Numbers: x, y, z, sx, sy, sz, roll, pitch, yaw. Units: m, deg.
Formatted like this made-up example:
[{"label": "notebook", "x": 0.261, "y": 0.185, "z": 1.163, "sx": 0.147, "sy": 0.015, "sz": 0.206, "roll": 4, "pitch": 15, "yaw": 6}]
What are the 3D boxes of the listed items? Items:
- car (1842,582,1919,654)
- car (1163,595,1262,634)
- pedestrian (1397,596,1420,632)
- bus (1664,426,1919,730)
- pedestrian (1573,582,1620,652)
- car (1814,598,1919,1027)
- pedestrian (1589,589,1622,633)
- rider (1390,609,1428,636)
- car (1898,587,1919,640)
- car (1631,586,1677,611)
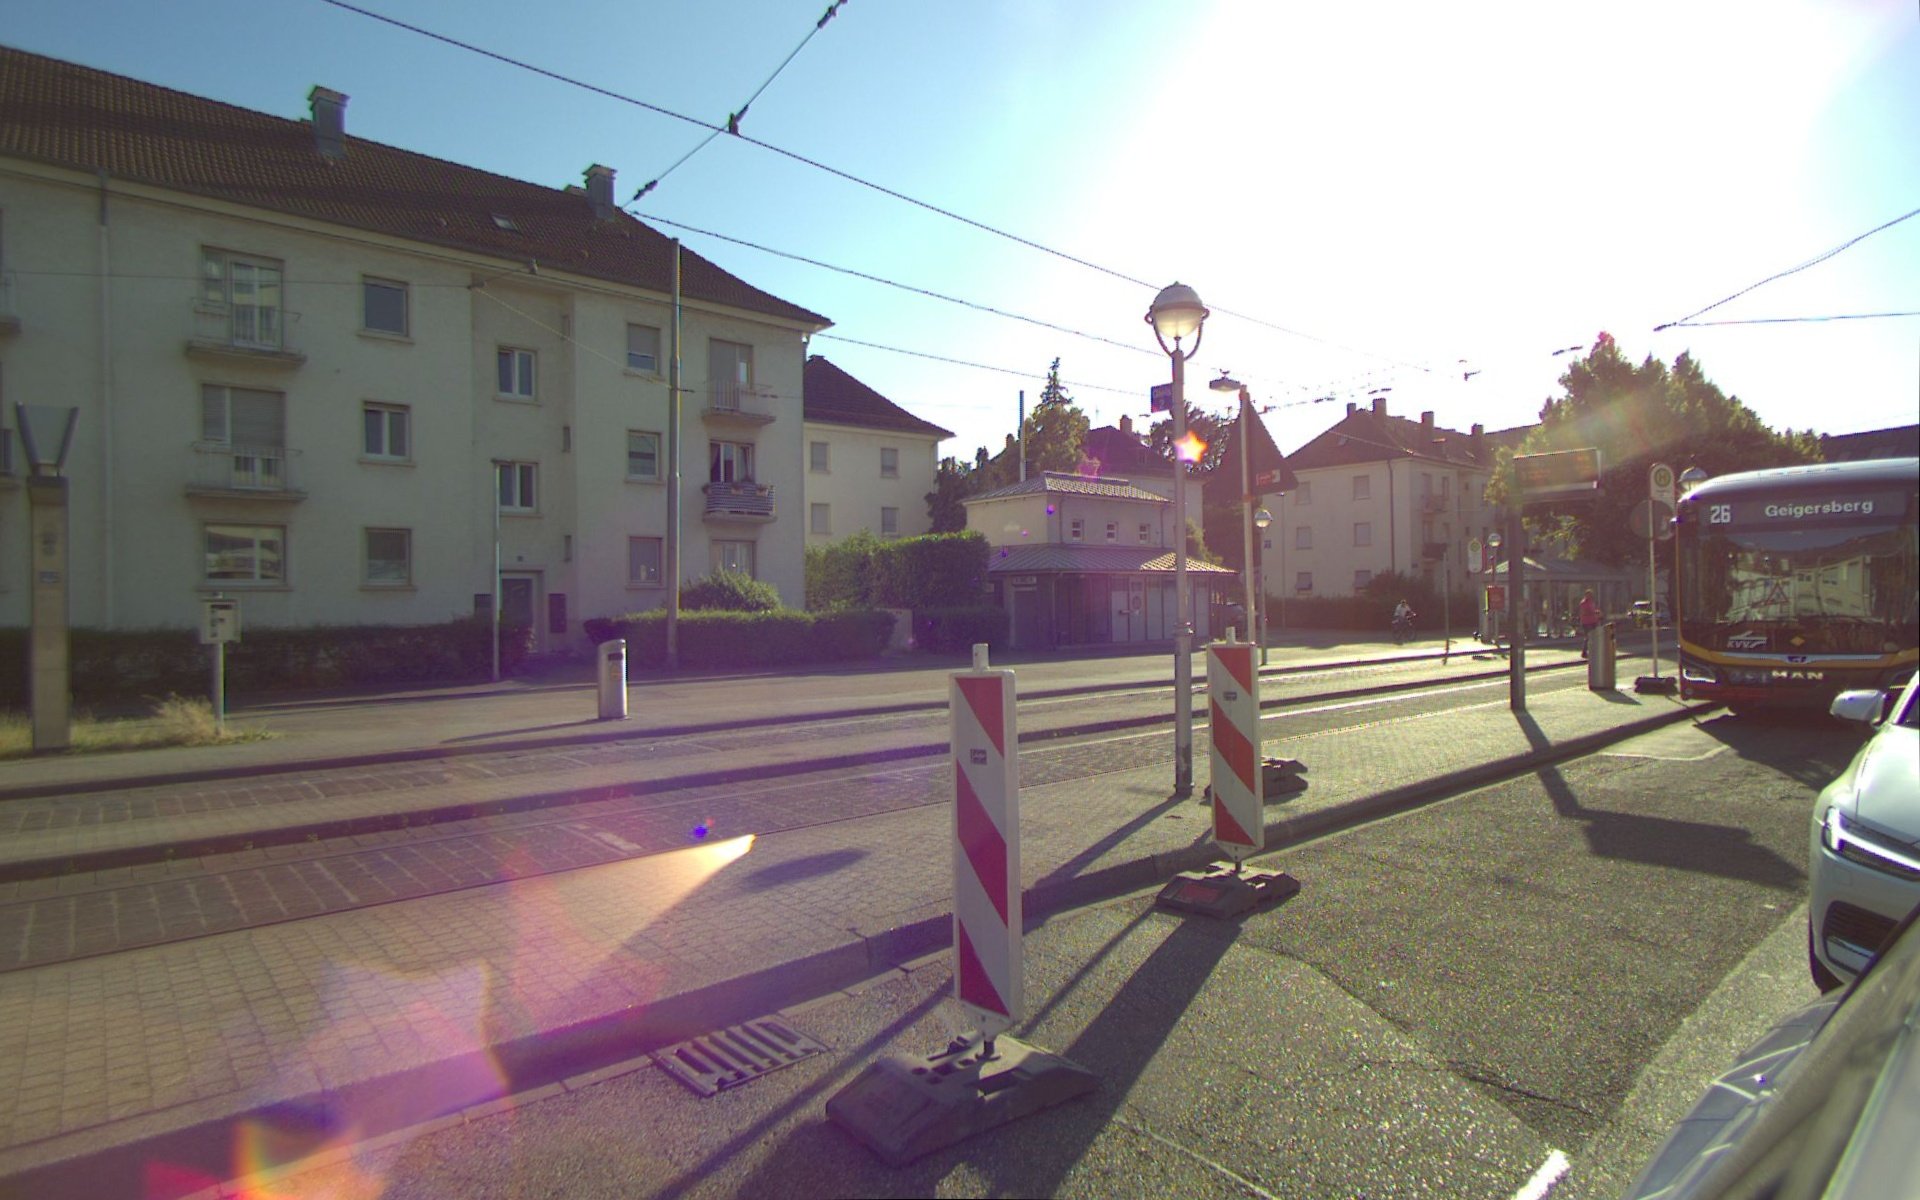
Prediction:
[{"label": "car", "x": 21.226, "y": 0.357, "z": 22.367, "sx": 4.740, "sy": 1.477, "sz": 1.968, "roll": 0, "pitch": 0, "yaw": -41}, {"label": "car", "x": 11.586, "y": 0.678, "z": 46.671, "sx": 1.964, "sy": 1.694, "sz": 4.050, "roll": -1, "pitch": -1, "yaw": -39}, {"label": "pedestrian", "x": 17.757, "y": 0.544, "z": 40.059, "sx": 0.569, "sy": 1.398, "sz": 0.659, "roll": 0, "pitch": 0, "yaw": -3}, {"label": "bus", "x": 14.318, "y": -0.266, "z": 15.849, "sx": 11.824, "sy": 3.345, "sz": 2.745, "roll": 0, "pitch": 0, "yaw": -42}, {"label": "pedestrian", "x": 16.231, "y": 0.425, "z": 25.818, "sx": 0.811, "sy": 1.740, "sz": 0.840, "roll": 0, "pitch": 0, "yaw": -43}, {"label": "car", "x": 5.273, "y": 0.730, "z": 4.361, "sx": 4.143, "sy": 1.472, "sz": 1.819, "roll": 0, "pitch": 0, "yaw": -41}, {"label": "pedestrian", "x": 24.358, "y": 0.395, "z": 38.175, "sx": 0.810, "sy": 1.631, "sz": 0.842, "roll": 0, "pitch": 0, "yaw": -38}, {"label": "rider", "x": 17.760, "y": 0.862, "z": 40.089, "sx": 0.569, "sy": 1.004, "sz": 1.859, "roll": 0, "pitch": 0, "yaw": -3}, {"label": "car", "x": 28.786, "y": 0.366, "z": 29.232, "sx": 4.740, "sy": 1.477, "sz": 1.968, "roll": 0, "pitch": 0, "yaw": -41}, {"label": "car", "x": 53.781, "y": -0.115, "z": 78.437, "sx": 3.930, "sy": 1.887, "sz": 1.997, "roll": -1, "pitch": 0, "yaw": -41}]
